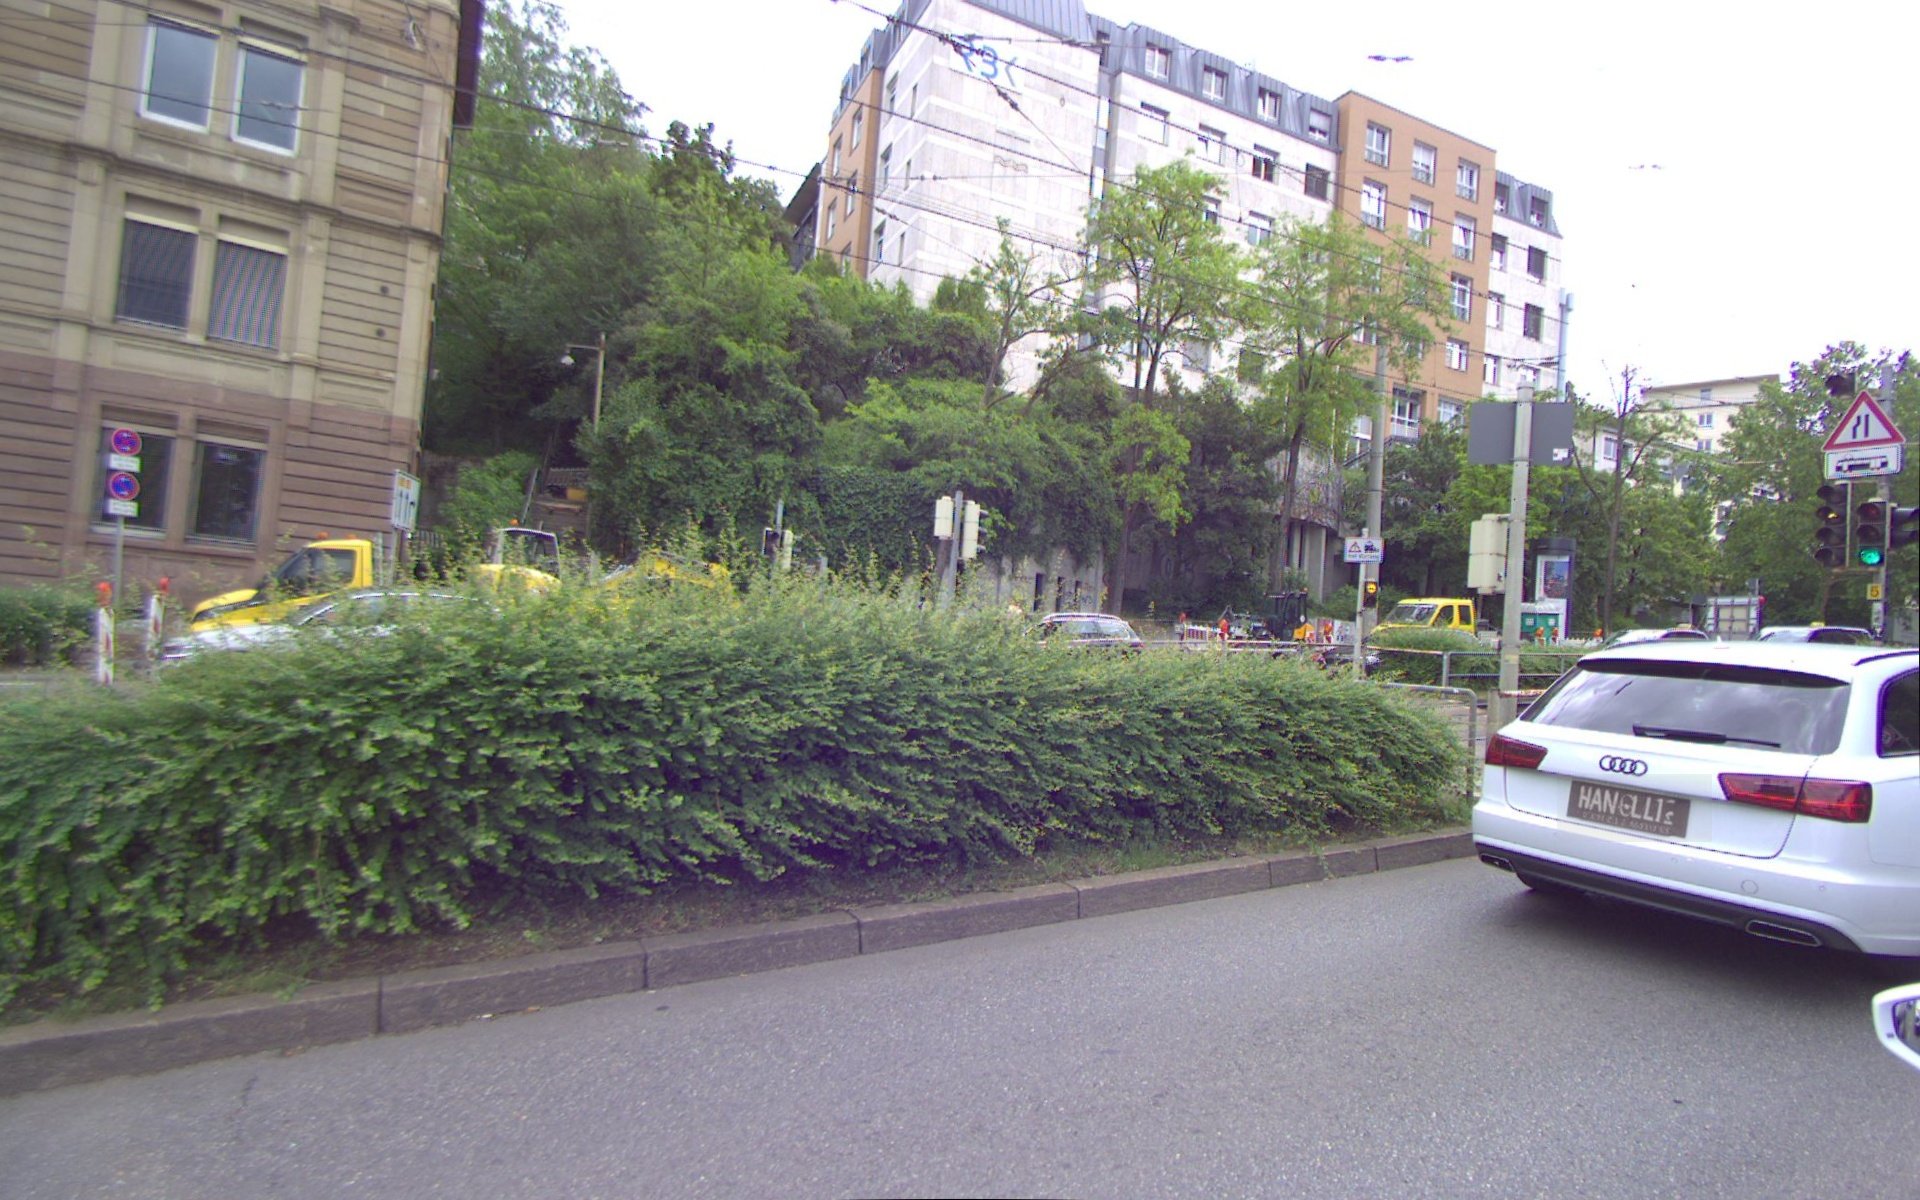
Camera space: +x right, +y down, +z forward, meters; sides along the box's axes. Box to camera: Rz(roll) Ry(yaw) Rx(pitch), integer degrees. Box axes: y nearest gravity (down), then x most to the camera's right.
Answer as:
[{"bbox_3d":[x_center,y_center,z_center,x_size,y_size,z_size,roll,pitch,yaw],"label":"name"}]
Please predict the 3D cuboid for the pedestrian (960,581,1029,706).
[{"bbox_3d":[0.536,0.661,15.356,0.730,1.841,0.790,-1,-2,38],"label":"pedestrian"}]

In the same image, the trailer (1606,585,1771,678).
[{"bbox_3d":[25.489,1.105,35.141,5.509,3.013,2.015,2,1,-22],"label":"trailer"}]

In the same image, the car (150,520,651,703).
[{"bbox_3d":[-8.781,0.264,16.443,6.684,2.468,2.425,2,-1,-34],"label":"car"}]

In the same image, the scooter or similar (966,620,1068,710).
[{"bbox_3d":[0.875,0.975,15.465,1.472,1.313,0.532,0,-1,31],"label":"scooter or similar"}]

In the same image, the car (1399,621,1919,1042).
[{"bbox_3d":[4.726,0.921,5.555,4.563,1.474,1.870,2,-1,-30],"label":"car"}]

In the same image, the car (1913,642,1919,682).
[{"bbox_3d":[37.023,2.325,36.864,3.687,1.462,1.655,2,-1,-24],"label":"car"}]

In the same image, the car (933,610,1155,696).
[{"bbox_3d":[1.634,0.991,19.218,3.954,1.481,1.770,2,-2,-31],"label":"car"}]

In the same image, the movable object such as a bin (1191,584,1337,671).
[{"bbox_3d":[9.398,0.842,31.068,4.044,2.501,1.926,2,1,-26],"label":"movable object such as a bin"}]

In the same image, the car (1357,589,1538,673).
[{"bbox_3d":[16.480,1.077,33.876,6.253,2.628,2.150,2,-1,-26],"label":"car"}]

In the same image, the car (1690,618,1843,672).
[{"bbox_3d":[25.710,1.430,32.015,4.547,1.626,1.988,2,-1,-25],"label":"car"}]

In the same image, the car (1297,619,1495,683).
[{"bbox_3d":[10.687,1.275,24.563,4.783,1.454,1.875,2,-3,-28],"label":"car"}]

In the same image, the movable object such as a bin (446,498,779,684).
[{"bbox_3d":[-7.617,-0.073,22.573,6.498,3.595,2.723,2,-2,-41],"label":"movable object such as a bin"}]

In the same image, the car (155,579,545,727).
[{"bbox_3d":[-7.539,0.639,12.674,3.963,1.588,1.691,2,-2,-37],"label":"car"}]

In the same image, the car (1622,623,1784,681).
[{"bbox_3d":[22.290,1.548,30.127,4.557,1.626,1.988,2,-1,-25],"label":"car"}]
